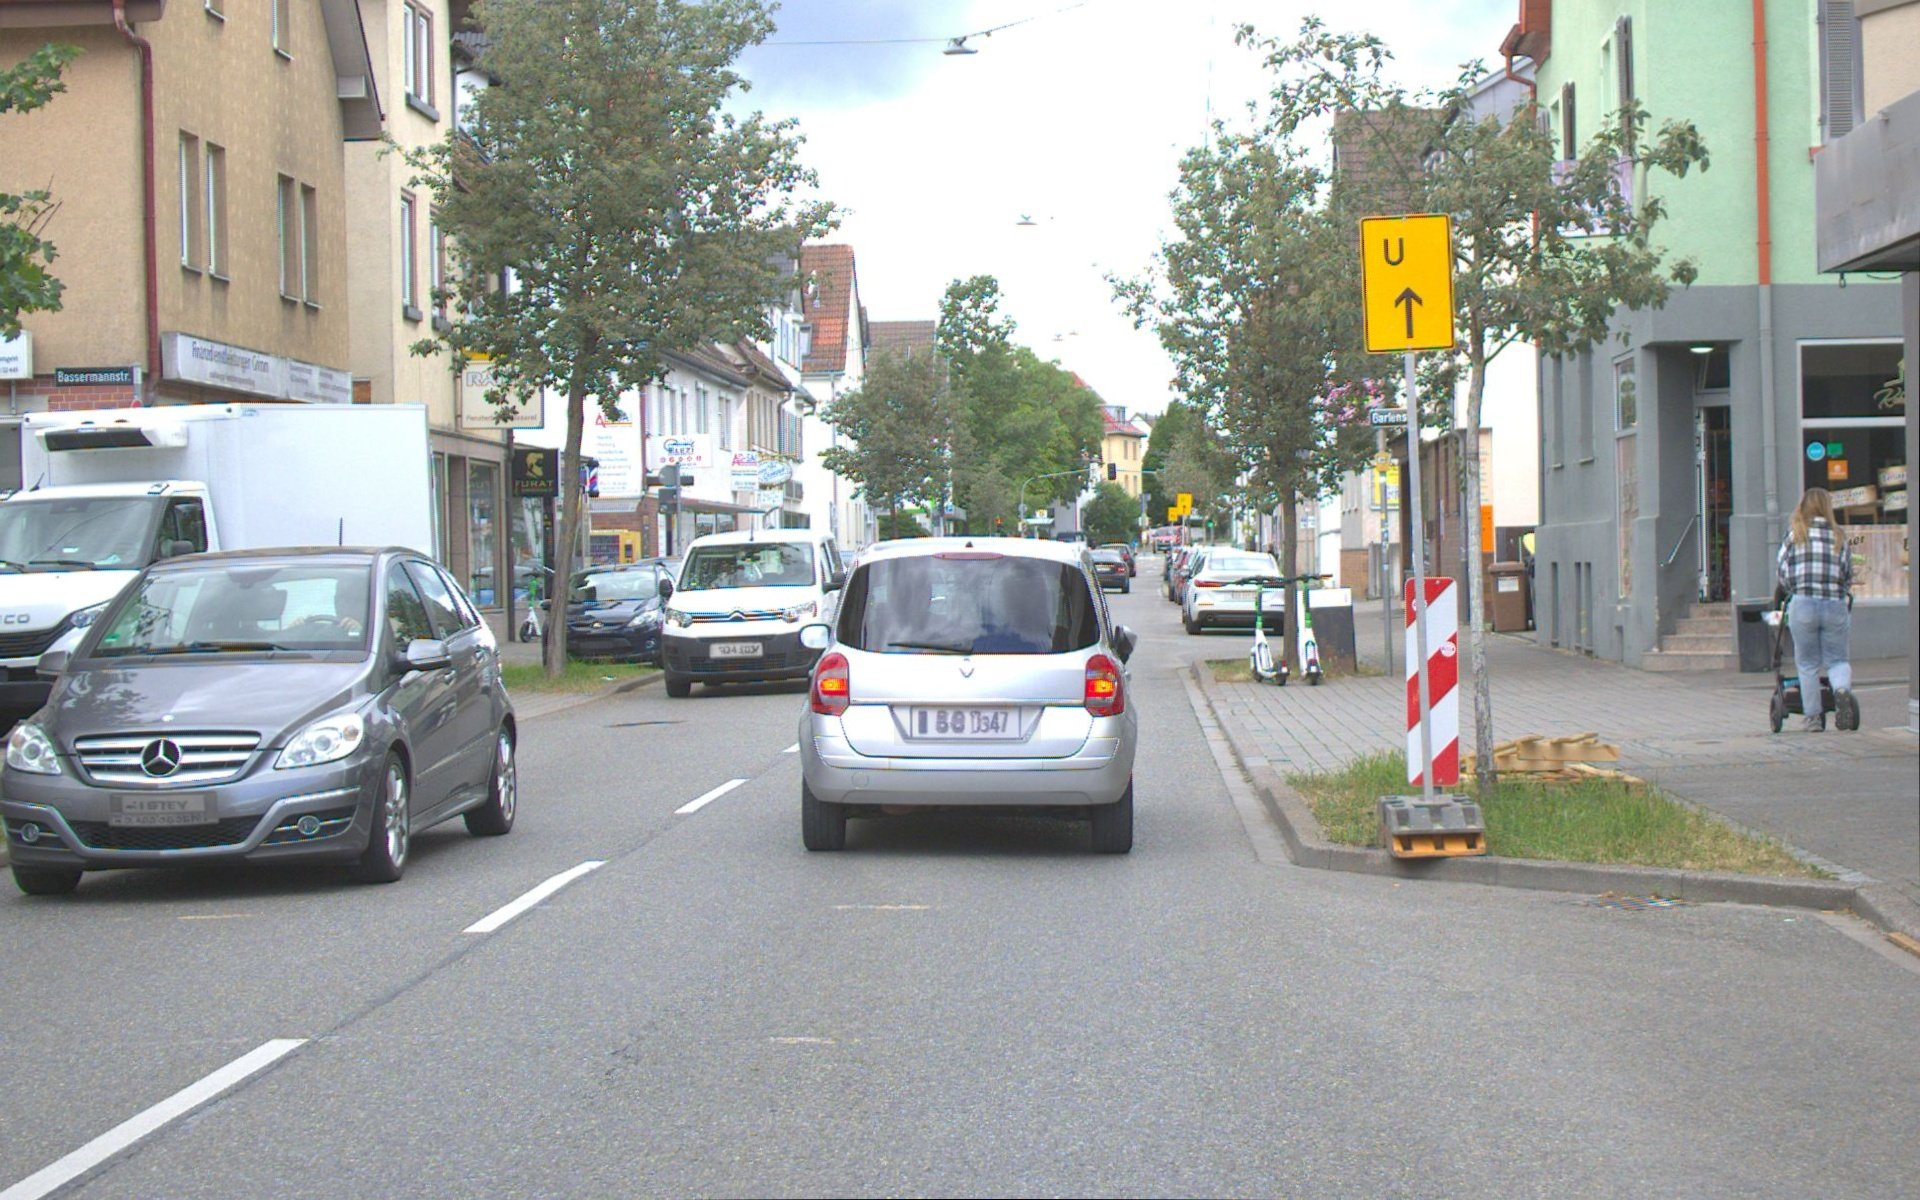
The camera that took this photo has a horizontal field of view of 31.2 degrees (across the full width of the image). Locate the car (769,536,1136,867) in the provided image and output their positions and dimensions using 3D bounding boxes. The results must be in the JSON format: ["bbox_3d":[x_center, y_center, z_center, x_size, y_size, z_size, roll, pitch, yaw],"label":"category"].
[{"bbox_3d":[0.064,0.456,18.401,1.682,1.560,3.993,1,1,4],"label":"car"}]

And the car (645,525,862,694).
[{"bbox_3d":[-2.320,0.080,39.683,1.994,1.790,4.277,-2,1,3],"label":"car"}]

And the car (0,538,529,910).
[{"bbox_3d":[-3.400,0.521,17.068,1.780,1.546,4.074,-3,1,2],"label":"car"}]

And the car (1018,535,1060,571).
[{"bbox_3d":[4.049,-2.408,175.275,1.901,1.731,4.365,-2,1,4],"label":"car"}]

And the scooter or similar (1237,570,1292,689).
[{"bbox_3d":[3.266,0.302,36.971,0.502,1.231,1.942,0,1,3],"label":"scooter or similar"}]

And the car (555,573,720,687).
[{"bbox_3d":[-4.373,0.376,47.138,1.682,1.420,3.931,-2,1,2],"label":"car"}]

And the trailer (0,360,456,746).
[{"bbox_3d":[-7.360,-0.440,32.376,2.505,3.208,7.130,0,1,15],"label":"trailer"}]

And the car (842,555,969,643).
[{"bbox_3d":[-0.915,-0.043,60.494,1.843,1.428,4.543,-2,1,4],"label":"car"}]

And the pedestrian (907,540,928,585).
[{"bbox_3d":[-1.685,-1.502,136.788,0.762,1.785,0.890,0,1,3],"label":"pedestrian"}]

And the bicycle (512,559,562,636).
[{"bbox_3d":[-6.937,-0.050,56.425,0.502,1.231,1.942,0,1,3],"label":"bicycle"}]

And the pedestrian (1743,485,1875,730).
[{"bbox_3d":[6.048,0.047,24.524,0.750,1.714,0.900,0,1,3],"label":"pedestrian"}]

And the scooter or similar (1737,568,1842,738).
[{"bbox_3d":[6.125,0.384,25.425,0.589,1.228,0.891,0,1,3],"label":"scooter or similar"}]

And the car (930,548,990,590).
[{"bbox_3d":[0.027,-1.191,130.818,1.948,1.462,4.515,-3,1,4],"label":"car"}]

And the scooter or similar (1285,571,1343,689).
[{"bbox_3d":[3.801,0.304,36.962,0.502,1.231,1.942,0,1,3],"label":"scooter or similar"}]

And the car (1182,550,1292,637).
[{"bbox_3d":[4.797,-0.138,59.921,1.831,1.441,4.331,1,1,4],"label":"car"}]

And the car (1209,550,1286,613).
[{"bbox_3d":[7.102,-0.476,85.250,1.831,1.492,3.993,1,1,4],"label":"car"}]
